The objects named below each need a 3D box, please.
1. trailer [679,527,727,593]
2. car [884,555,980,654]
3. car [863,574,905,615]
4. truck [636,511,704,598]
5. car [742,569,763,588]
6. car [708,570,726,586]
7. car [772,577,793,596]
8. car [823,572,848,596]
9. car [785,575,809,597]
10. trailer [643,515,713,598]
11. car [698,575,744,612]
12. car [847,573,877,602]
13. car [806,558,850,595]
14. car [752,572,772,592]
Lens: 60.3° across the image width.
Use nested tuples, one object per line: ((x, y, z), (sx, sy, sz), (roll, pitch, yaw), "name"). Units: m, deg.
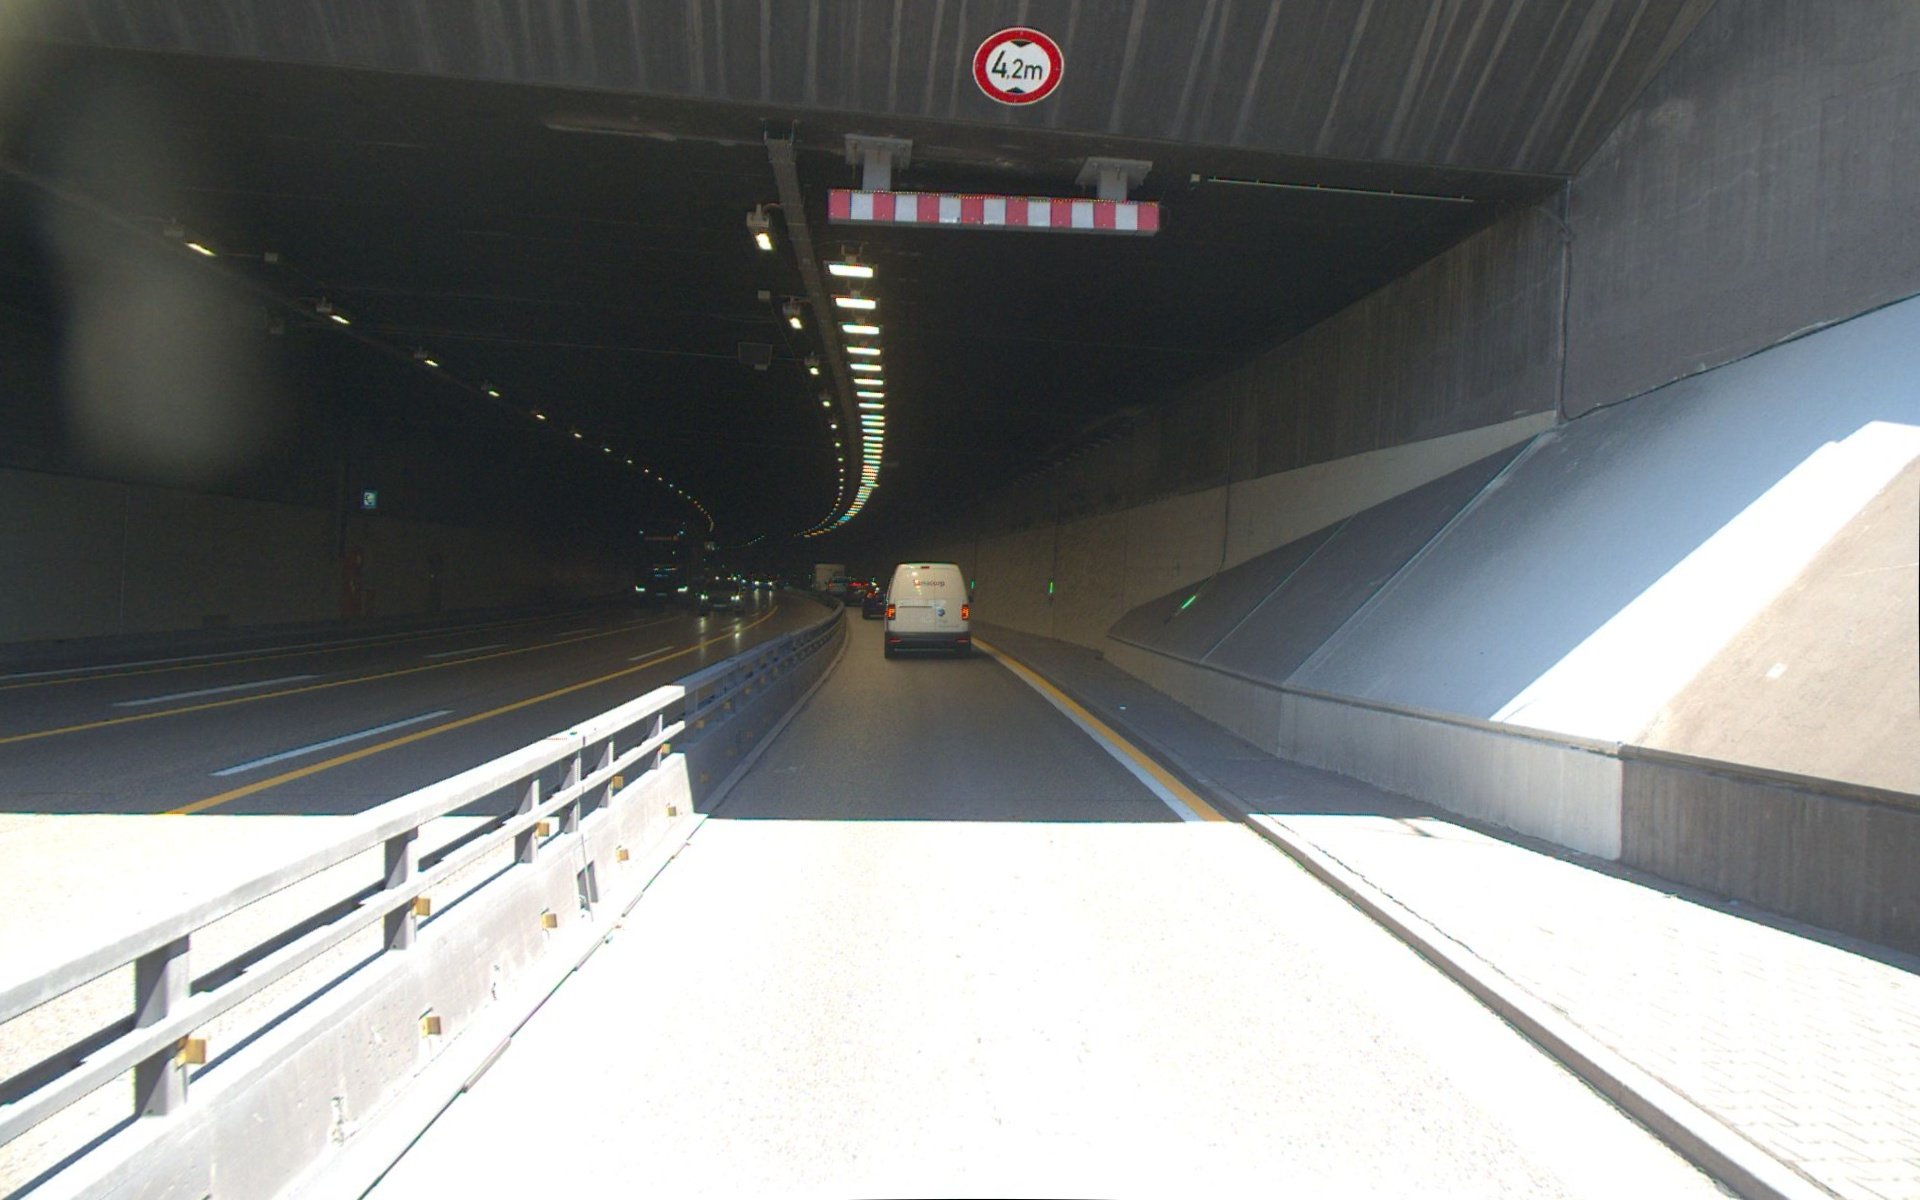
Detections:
((-17.596, -2.666, 114.051), (2.594, 4.206, 15.439), (0, 1, -7), "trailer")
((-0.580, 0.087, 33.450), (1.772, 1.825, 3.730), (2, 0, -2), "car")
((-3.032, -0.232, 65.327), (1.567, 1.573, 3.675), (1, 1, -4), "car")
((-13.872, -2.119, 79.406), (2.756, 3.984, 6.447), (0, 1, -6), "truck")
((-23.610, -2.451, 188.014), (1.893, 1.880, 4.348), (-1, 3, -13), "car")
((-27.845, -2.527, 189.417), (1.776, 1.839, 5.053), (0, 1, -11), "car")
((-19.621, -1.465, 182.943), (1.905, 2.056, 4.649), (1, 1, -11), "car")
((-8.579, -1.116, 113.901), (1.568, 1.573, 3.672), (0, 1, -7), "car")
((-16.597, -1.436, 167.812), (1.998, 2.056, 4.621), (5, 0, -9), "car")
((-14.733, -2.207, 87.288), (2.759, 3.969, 15.439), (0, 1, -7), "trailer")
((-9.883, -0.291, 68.642), (1.787, 1.482, 4.087), (0, 1, -7), "car")
((-5.455, -0.718, 91.557), (1.567, 1.573, 3.674), (0, 1, -5), "car")
((-10.551, -1.846, 131.781), (2.763, 2.822, 7.082), (-1, 0, -11), "car")
((-19.365, -1.732, 161.635), (1.775, 1.887, 5.058), (0, 1, -9), "car")
